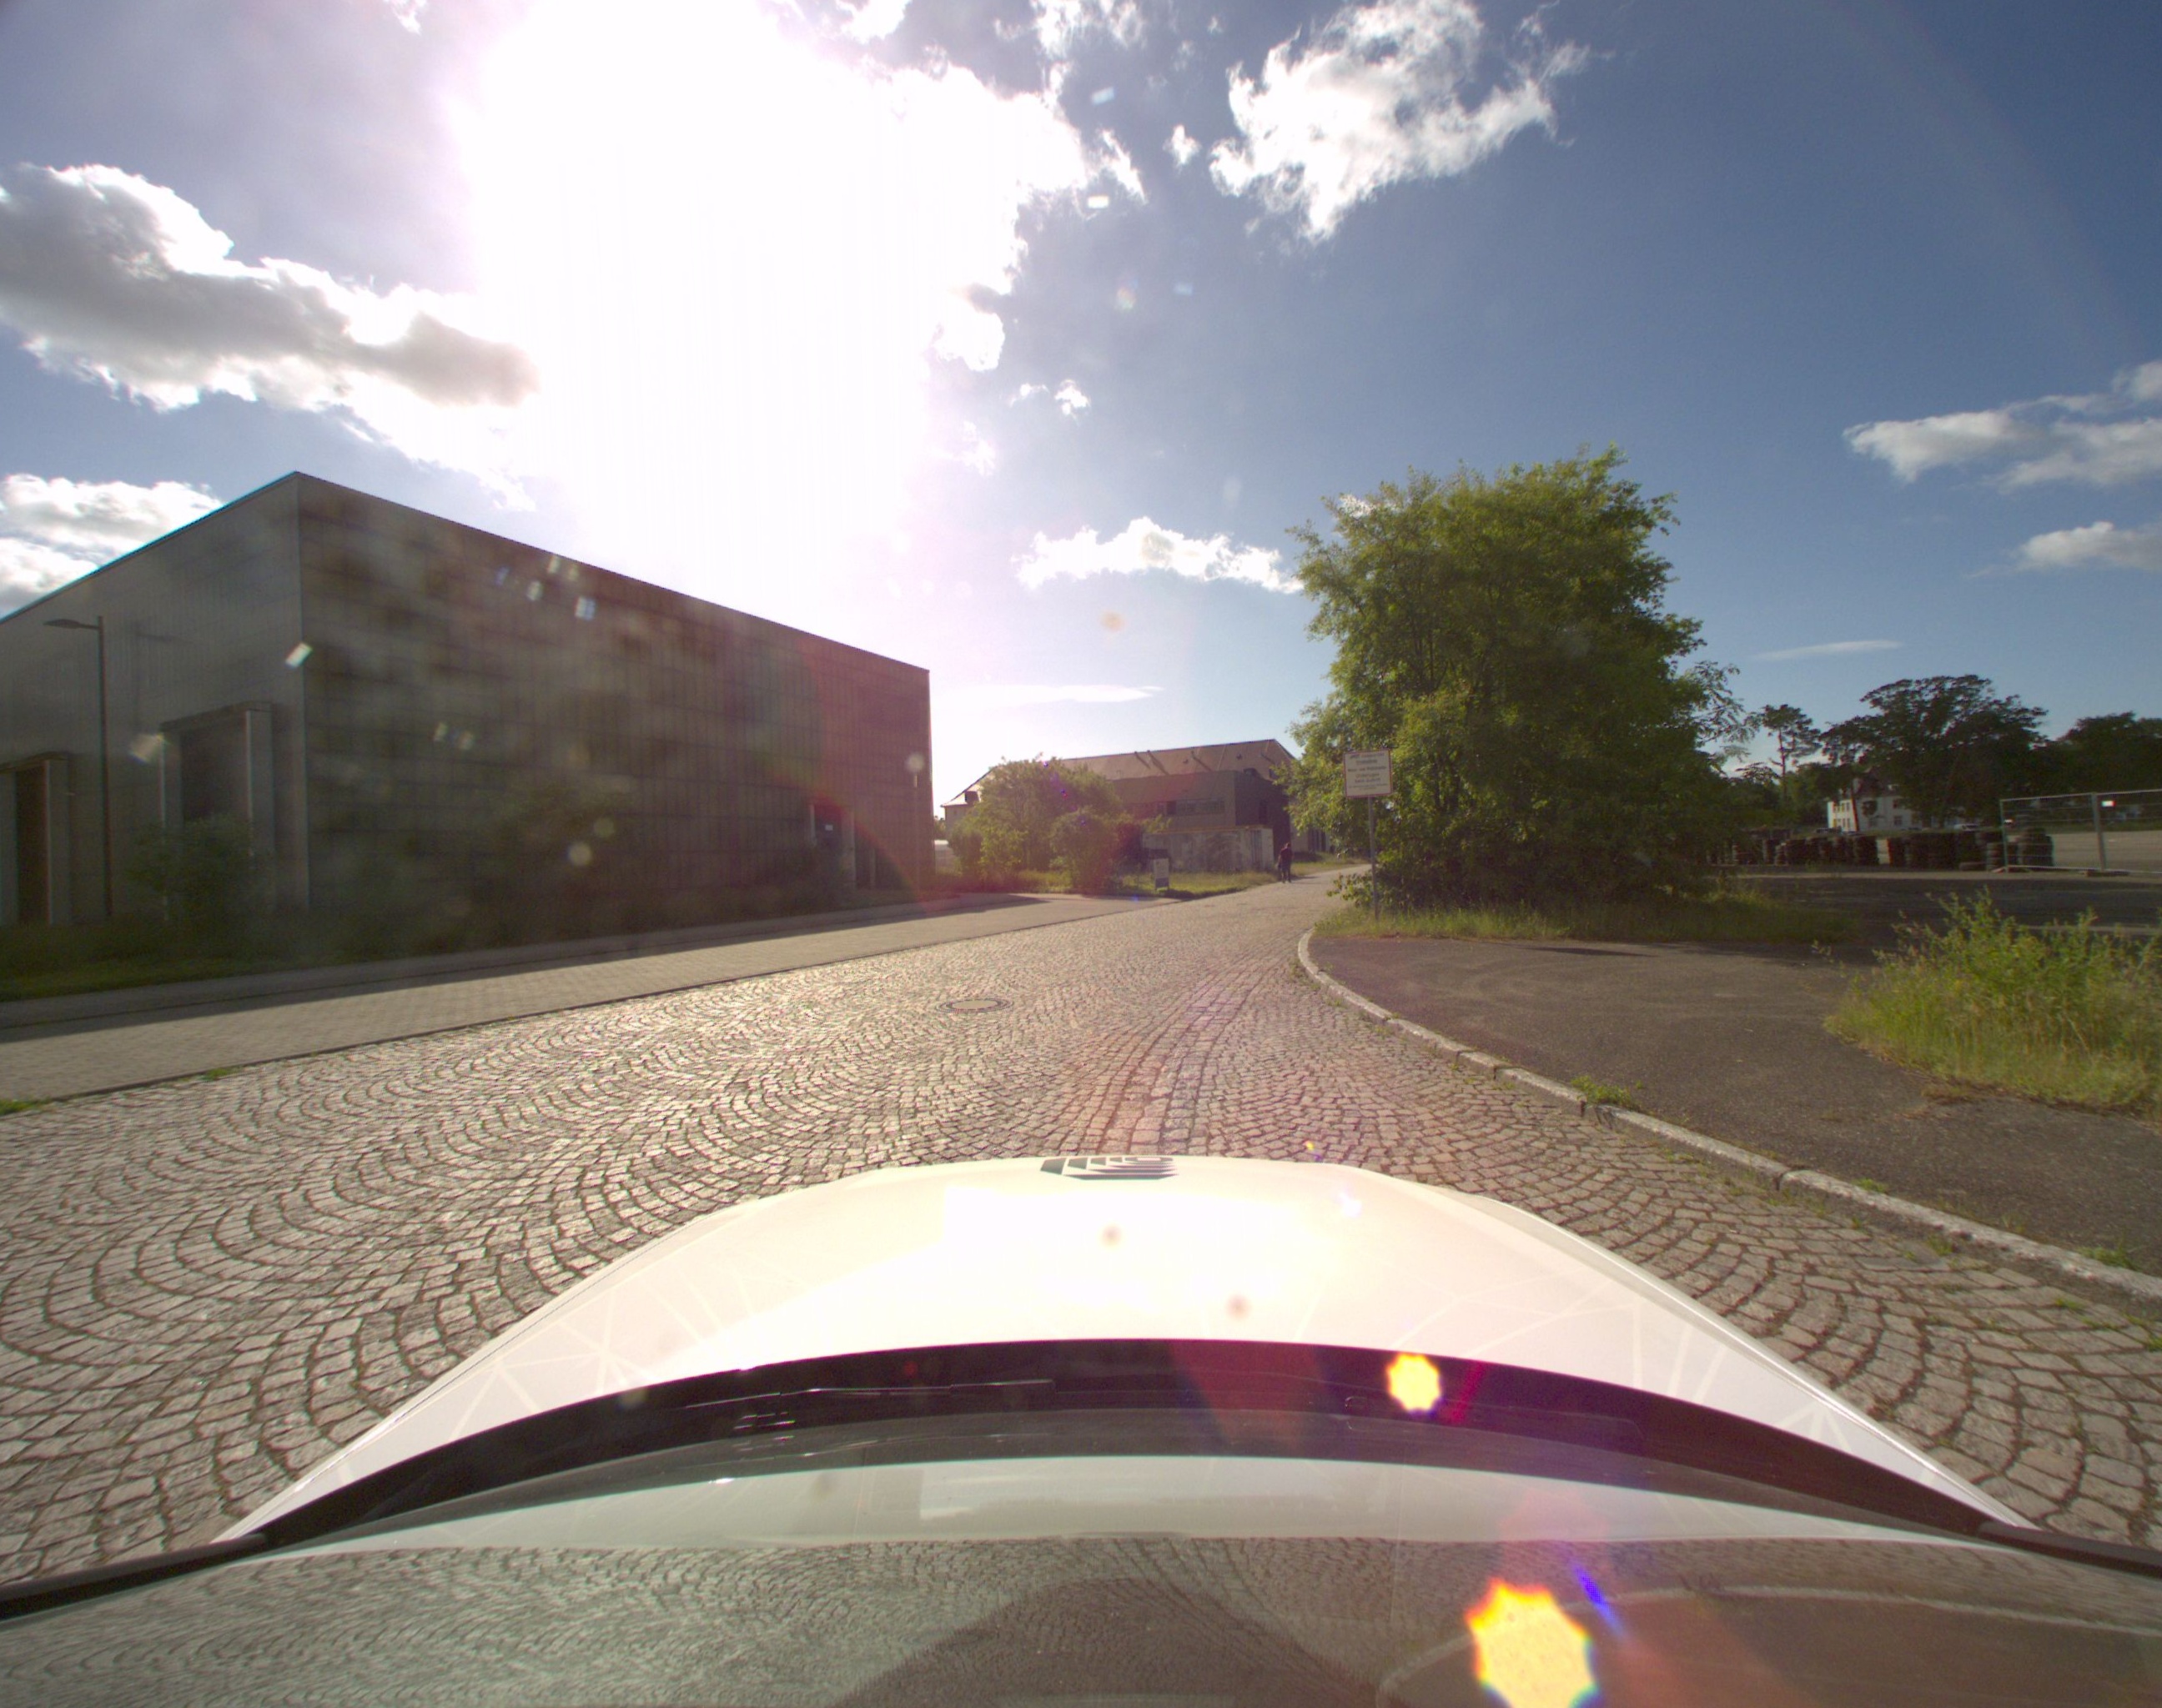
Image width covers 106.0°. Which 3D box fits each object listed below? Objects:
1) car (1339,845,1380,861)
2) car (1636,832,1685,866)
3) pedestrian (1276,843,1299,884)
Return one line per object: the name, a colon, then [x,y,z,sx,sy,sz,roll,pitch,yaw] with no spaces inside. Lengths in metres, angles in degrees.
car: [28.201,-0.112,82.512,3.798,1.441,1.592,-2,0,24]
car: [25.965,-0.234,36.549,1.526,1.407,3.600,-2,0,32]
pedestrian: [9.309,0.424,36.762,0.788,1.780,1.075,-1,0,25]
